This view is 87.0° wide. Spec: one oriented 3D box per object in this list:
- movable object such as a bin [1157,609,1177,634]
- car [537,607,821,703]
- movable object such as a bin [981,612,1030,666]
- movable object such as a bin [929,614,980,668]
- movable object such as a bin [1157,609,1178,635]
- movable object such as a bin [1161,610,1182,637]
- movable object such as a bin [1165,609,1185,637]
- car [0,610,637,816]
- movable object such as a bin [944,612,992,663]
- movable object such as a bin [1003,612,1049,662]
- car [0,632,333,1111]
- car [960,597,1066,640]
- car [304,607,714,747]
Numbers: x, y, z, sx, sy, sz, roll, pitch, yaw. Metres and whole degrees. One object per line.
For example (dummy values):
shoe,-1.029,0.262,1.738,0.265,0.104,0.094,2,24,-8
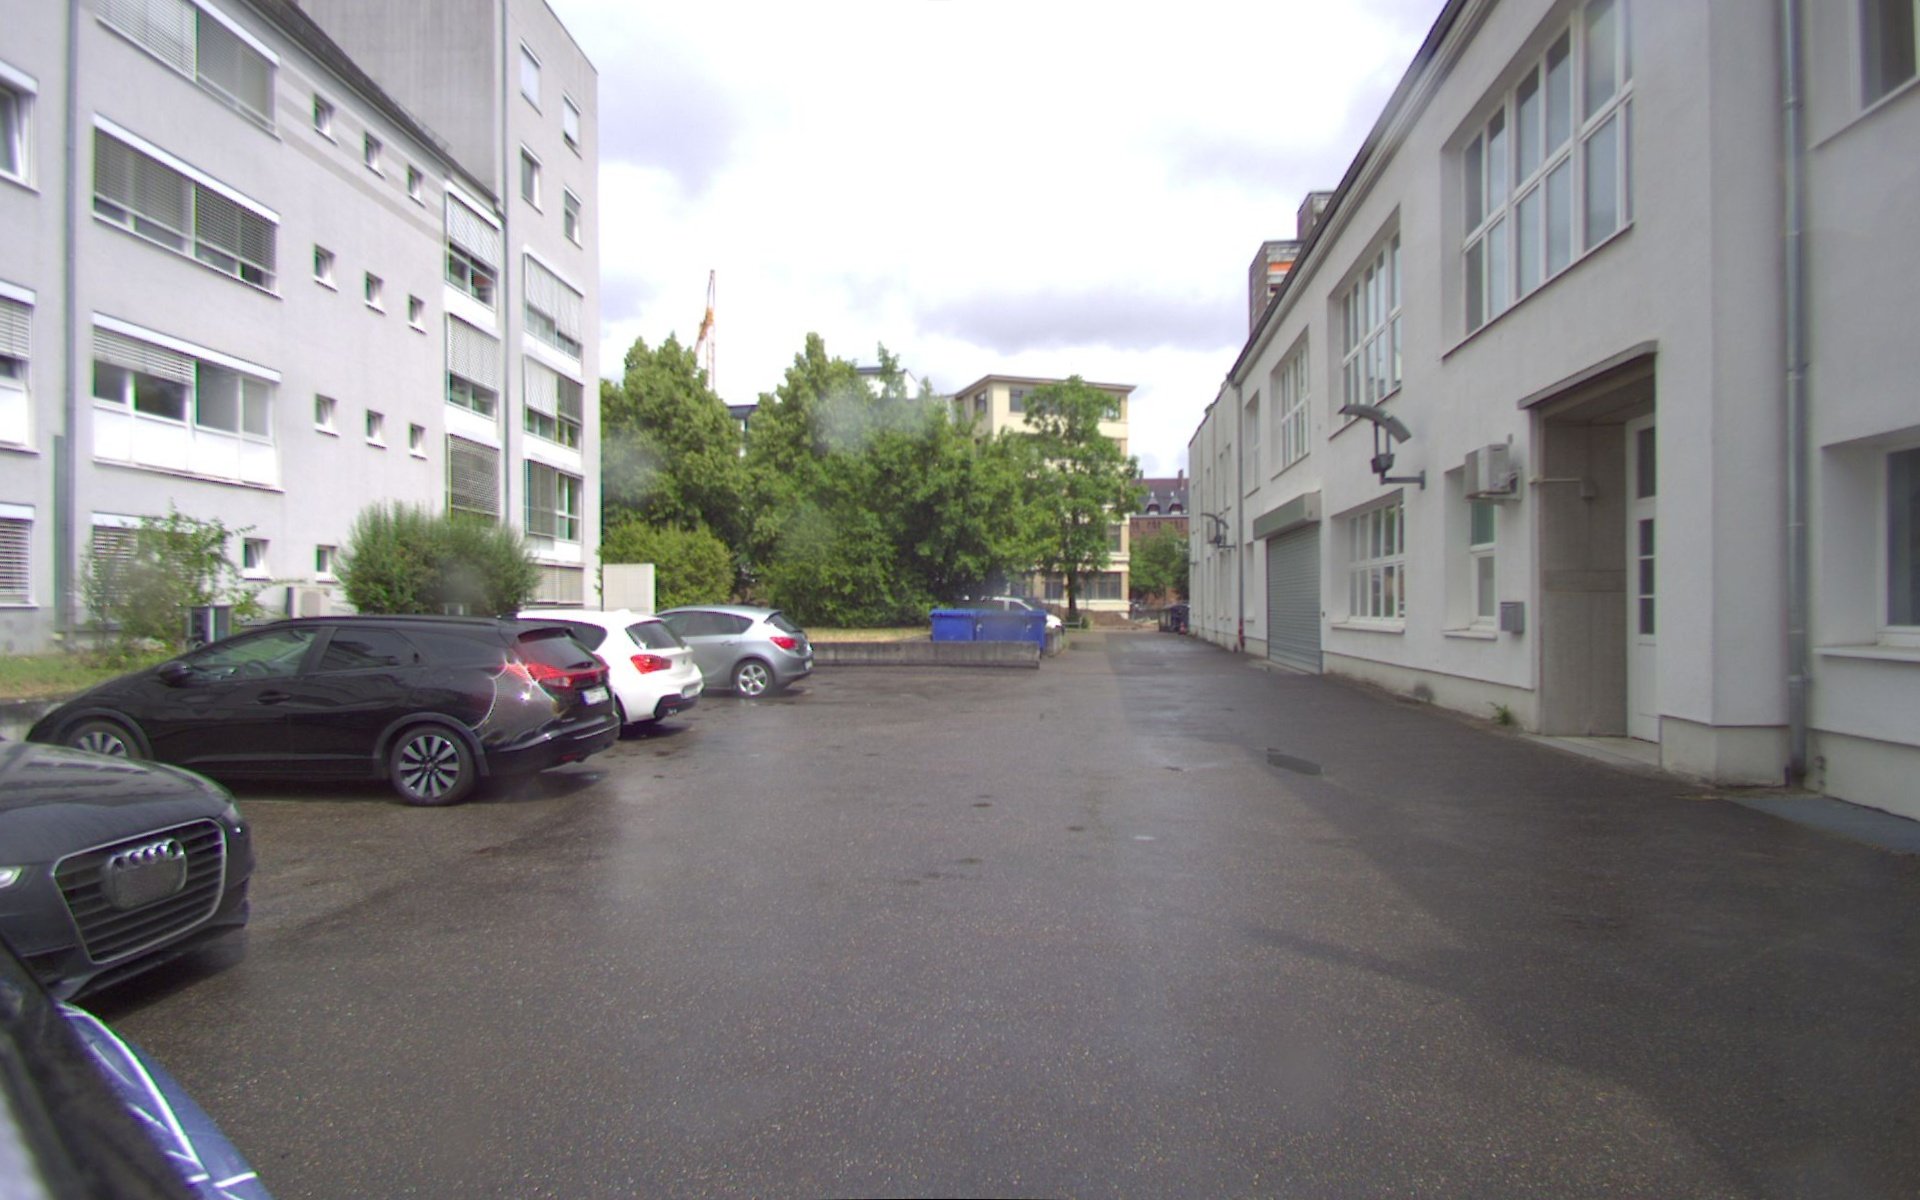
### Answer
movable object such as a bin,11.656,1.201,57.127,1.055,1.366,1.260,-1,0,11
car,-4.585,0.870,16.936,4.257,1.453,1.762,1,0,2
movable object such as a bin,1.187,1.005,26.118,1.083,1.335,1.204,-1,0,10
movable object such as a bin,-0.125,1.047,26.296,1.119,1.338,1.204,-1,0,11
movable object such as a bin,11.440,1.206,55.776,1.055,1.366,1.260,-1,0,11
movable object such as a bin,11.047,1.214,52.830,1.035,1.366,1.203,-1,0,11
movable object such as a bin,10.864,1.172,51.123,0.968,1.366,0.916,-1,0,11
car,-5.095,0.844,8.407,4.257,1.453,1.762,1,0,1
movable object such as a bin,0.241,1.022,27.958,1.119,1.338,1.204,-1,0,11
movable object such as a bin,1.821,1.004,27.814,1.119,1.338,1.204,-1,0,11
car,-5.070,0.819,3.749,4.468,1.362,1.762,1,0,3
car,2.291,0.781,43.191,4.291,1.740,1.716,-1,0,13
car,-5.139,0.833,11.865,4.071,1.453,1.695,1,0,3
